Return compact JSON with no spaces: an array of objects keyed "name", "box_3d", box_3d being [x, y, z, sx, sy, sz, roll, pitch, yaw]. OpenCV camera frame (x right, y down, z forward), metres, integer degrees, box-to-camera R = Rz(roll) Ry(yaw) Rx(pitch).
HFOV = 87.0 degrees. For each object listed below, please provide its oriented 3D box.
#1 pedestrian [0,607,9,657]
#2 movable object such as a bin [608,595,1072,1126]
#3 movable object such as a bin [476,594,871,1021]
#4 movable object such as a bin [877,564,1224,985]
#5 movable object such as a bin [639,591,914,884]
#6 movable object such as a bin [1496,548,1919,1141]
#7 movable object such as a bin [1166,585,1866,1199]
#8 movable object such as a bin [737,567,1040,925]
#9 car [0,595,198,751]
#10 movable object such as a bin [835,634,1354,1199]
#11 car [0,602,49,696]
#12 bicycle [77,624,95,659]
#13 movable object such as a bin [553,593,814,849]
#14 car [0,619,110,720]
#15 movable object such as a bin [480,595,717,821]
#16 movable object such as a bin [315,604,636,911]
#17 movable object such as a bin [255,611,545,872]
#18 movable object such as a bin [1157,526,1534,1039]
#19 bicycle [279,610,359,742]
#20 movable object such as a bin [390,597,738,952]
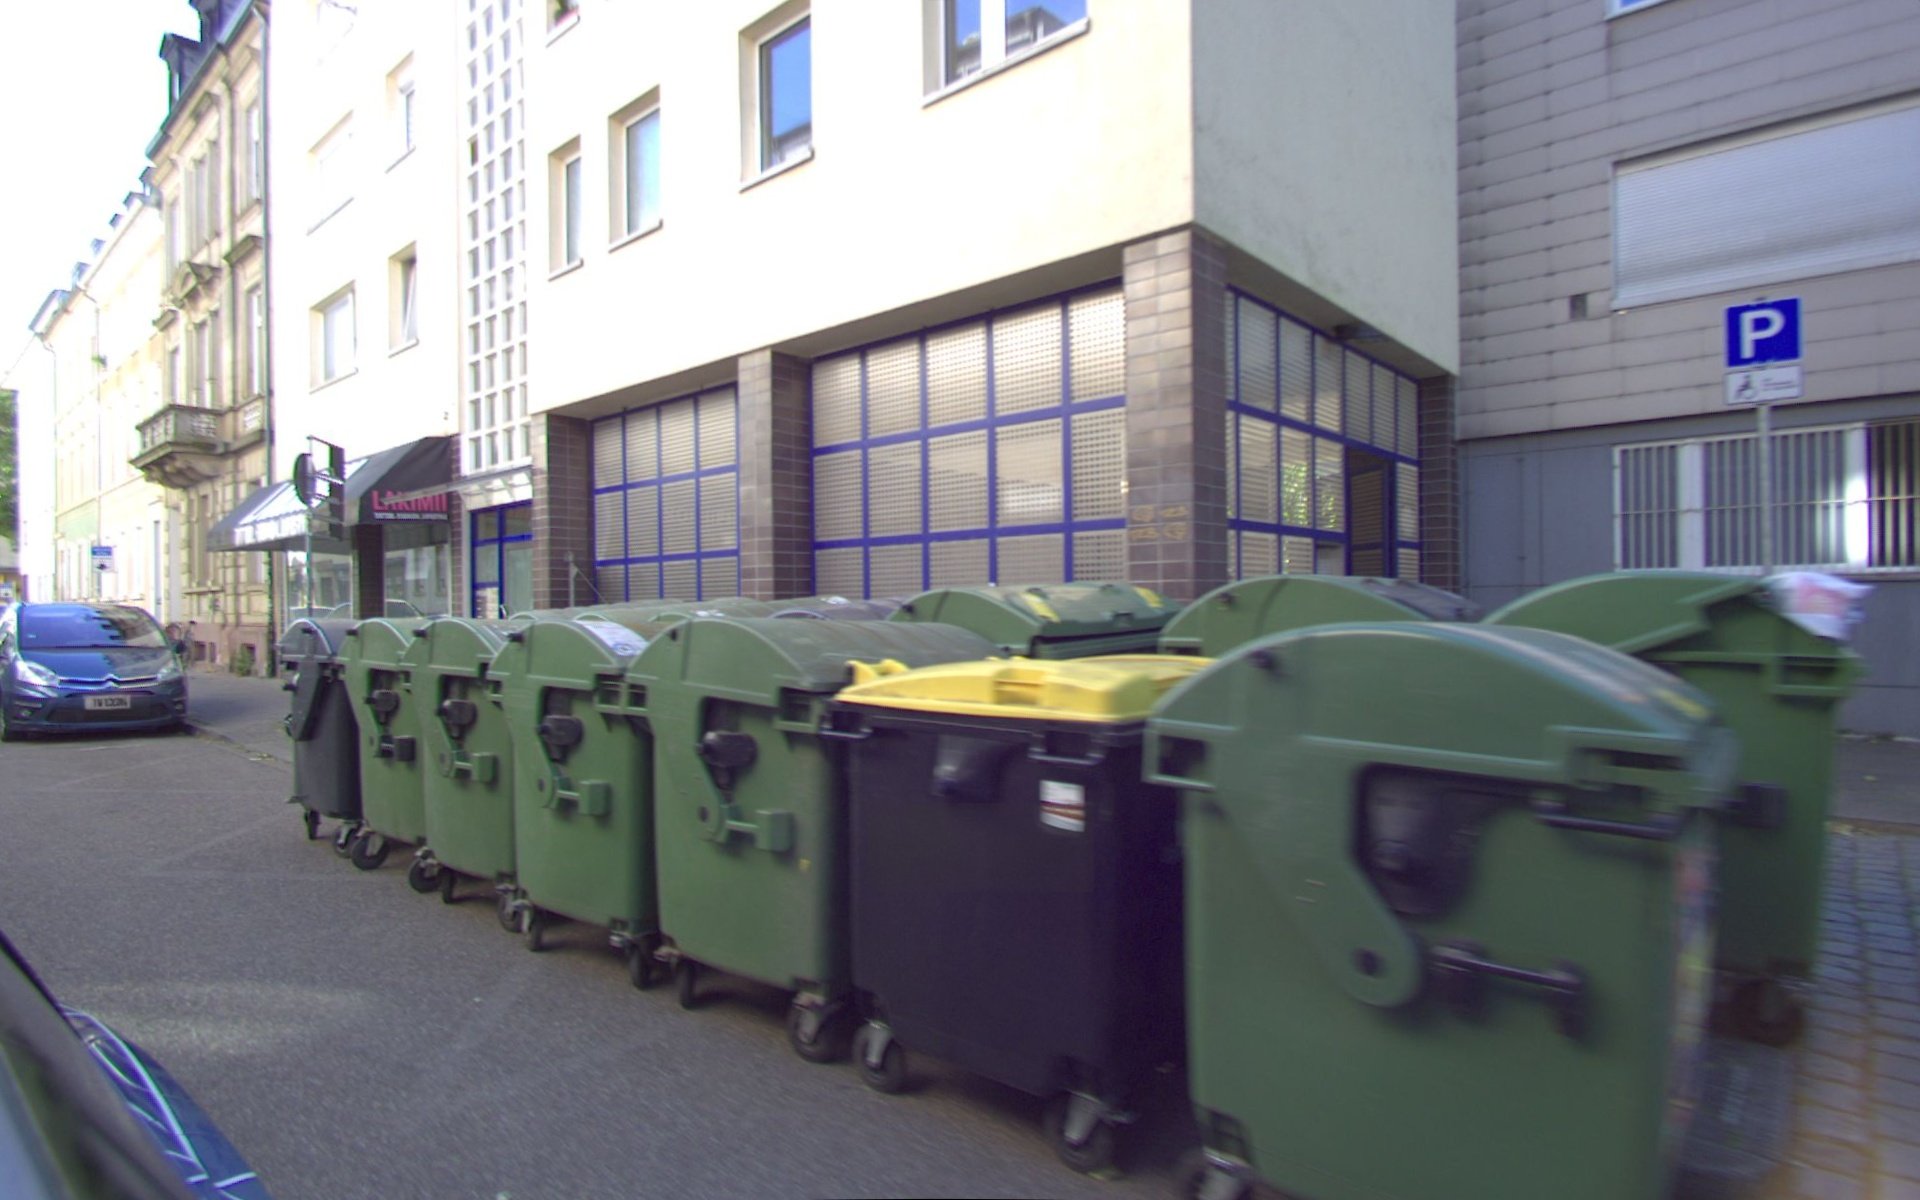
[{"name":"pedestrian","box_3d":[-36.342,1.196,37.913,1.245,1.846,0.901,0,-1,41]},{"name":"movable object such as a bin","box_3d":[-0.411,0.737,3.731,1.081,1.502,1.320,0,0,41]},{"name":"movable object such as a bin","box_3d":[-1.220,0.733,4.429,1.017,1.510,1.329,0,0,41]},{"name":"movable object such as a bin","box_3d":[0.445,0.667,4.733,1.081,1.616,1.275,0,0,41]},{"name":"movable object such as a bin","box_3d":[-1.091,0.714,6.116,1.017,1.534,1.288,0,0,41]},{"name":"movable object such as a bin","box_3d":[2.558,0.639,3.464,1.118,1.561,1.341,0,0,35]},{"name":"movable object such as a bin","box_3d":[1.273,0.705,2.332,1.116,1.462,1.288,0,0,38]},{"name":"movable object such as a bin","box_3d":[-0.361,0.661,5.429,1.017,1.632,1.281,0,0,41]},{"name":"car","box_3d":[-11.544,0.843,13.112,4.669,1.679,1.763,-1,-2,42]},{"name":"movable object such as a bin","box_3d":[0.434,0.798,3.040,1.045,1.332,1.228,0,0,41]},{"name":"car","box_3d":[-20.031,0.938,20.383,5.140,1.749,1.915,-1,-2,42]},{"name":"bicycle","box_3d":[-27.561,1.299,31.926,0.356,1.036,1.921,1,0,-39]},{"name":"movable object such as a bin","box_3d":[-1.861,0.714,6.870,1.156,1.510,1.292,0,0,41]},{"name":"car","box_3d":[-15.610,1.055,16.629,4.816,1.427,1.826,0,-2,42]},{"name":"movable object such as a bin","box_3d":[-2.720,0.718,7.647,1.178,1.509,1.283,0,0,41]},{"name":"movable object such as a bin","box_3d":[-2.764,0.788,5.822,1.093,1.495,1.320,0,-2,41]},{"name":"movable object such as a bin","box_3d":[-3.637,0.819,6.605,1.186,1.461,1.305,0,-2,41]},{"name":"movable object such as a bin","box_3d":[1.602,0.590,4.132,1.171,1.665,1.216,0,0,36]},{"name":"bicycle","box_3d":[-7.487,0.833,11.784,0.460,1.341,1.857,-5,4,-40]},{"name":"movable object such as a bin","box_3d":[-1.980,0.739,5.132,1.003,1.498,1.334,0,0,41]}]
